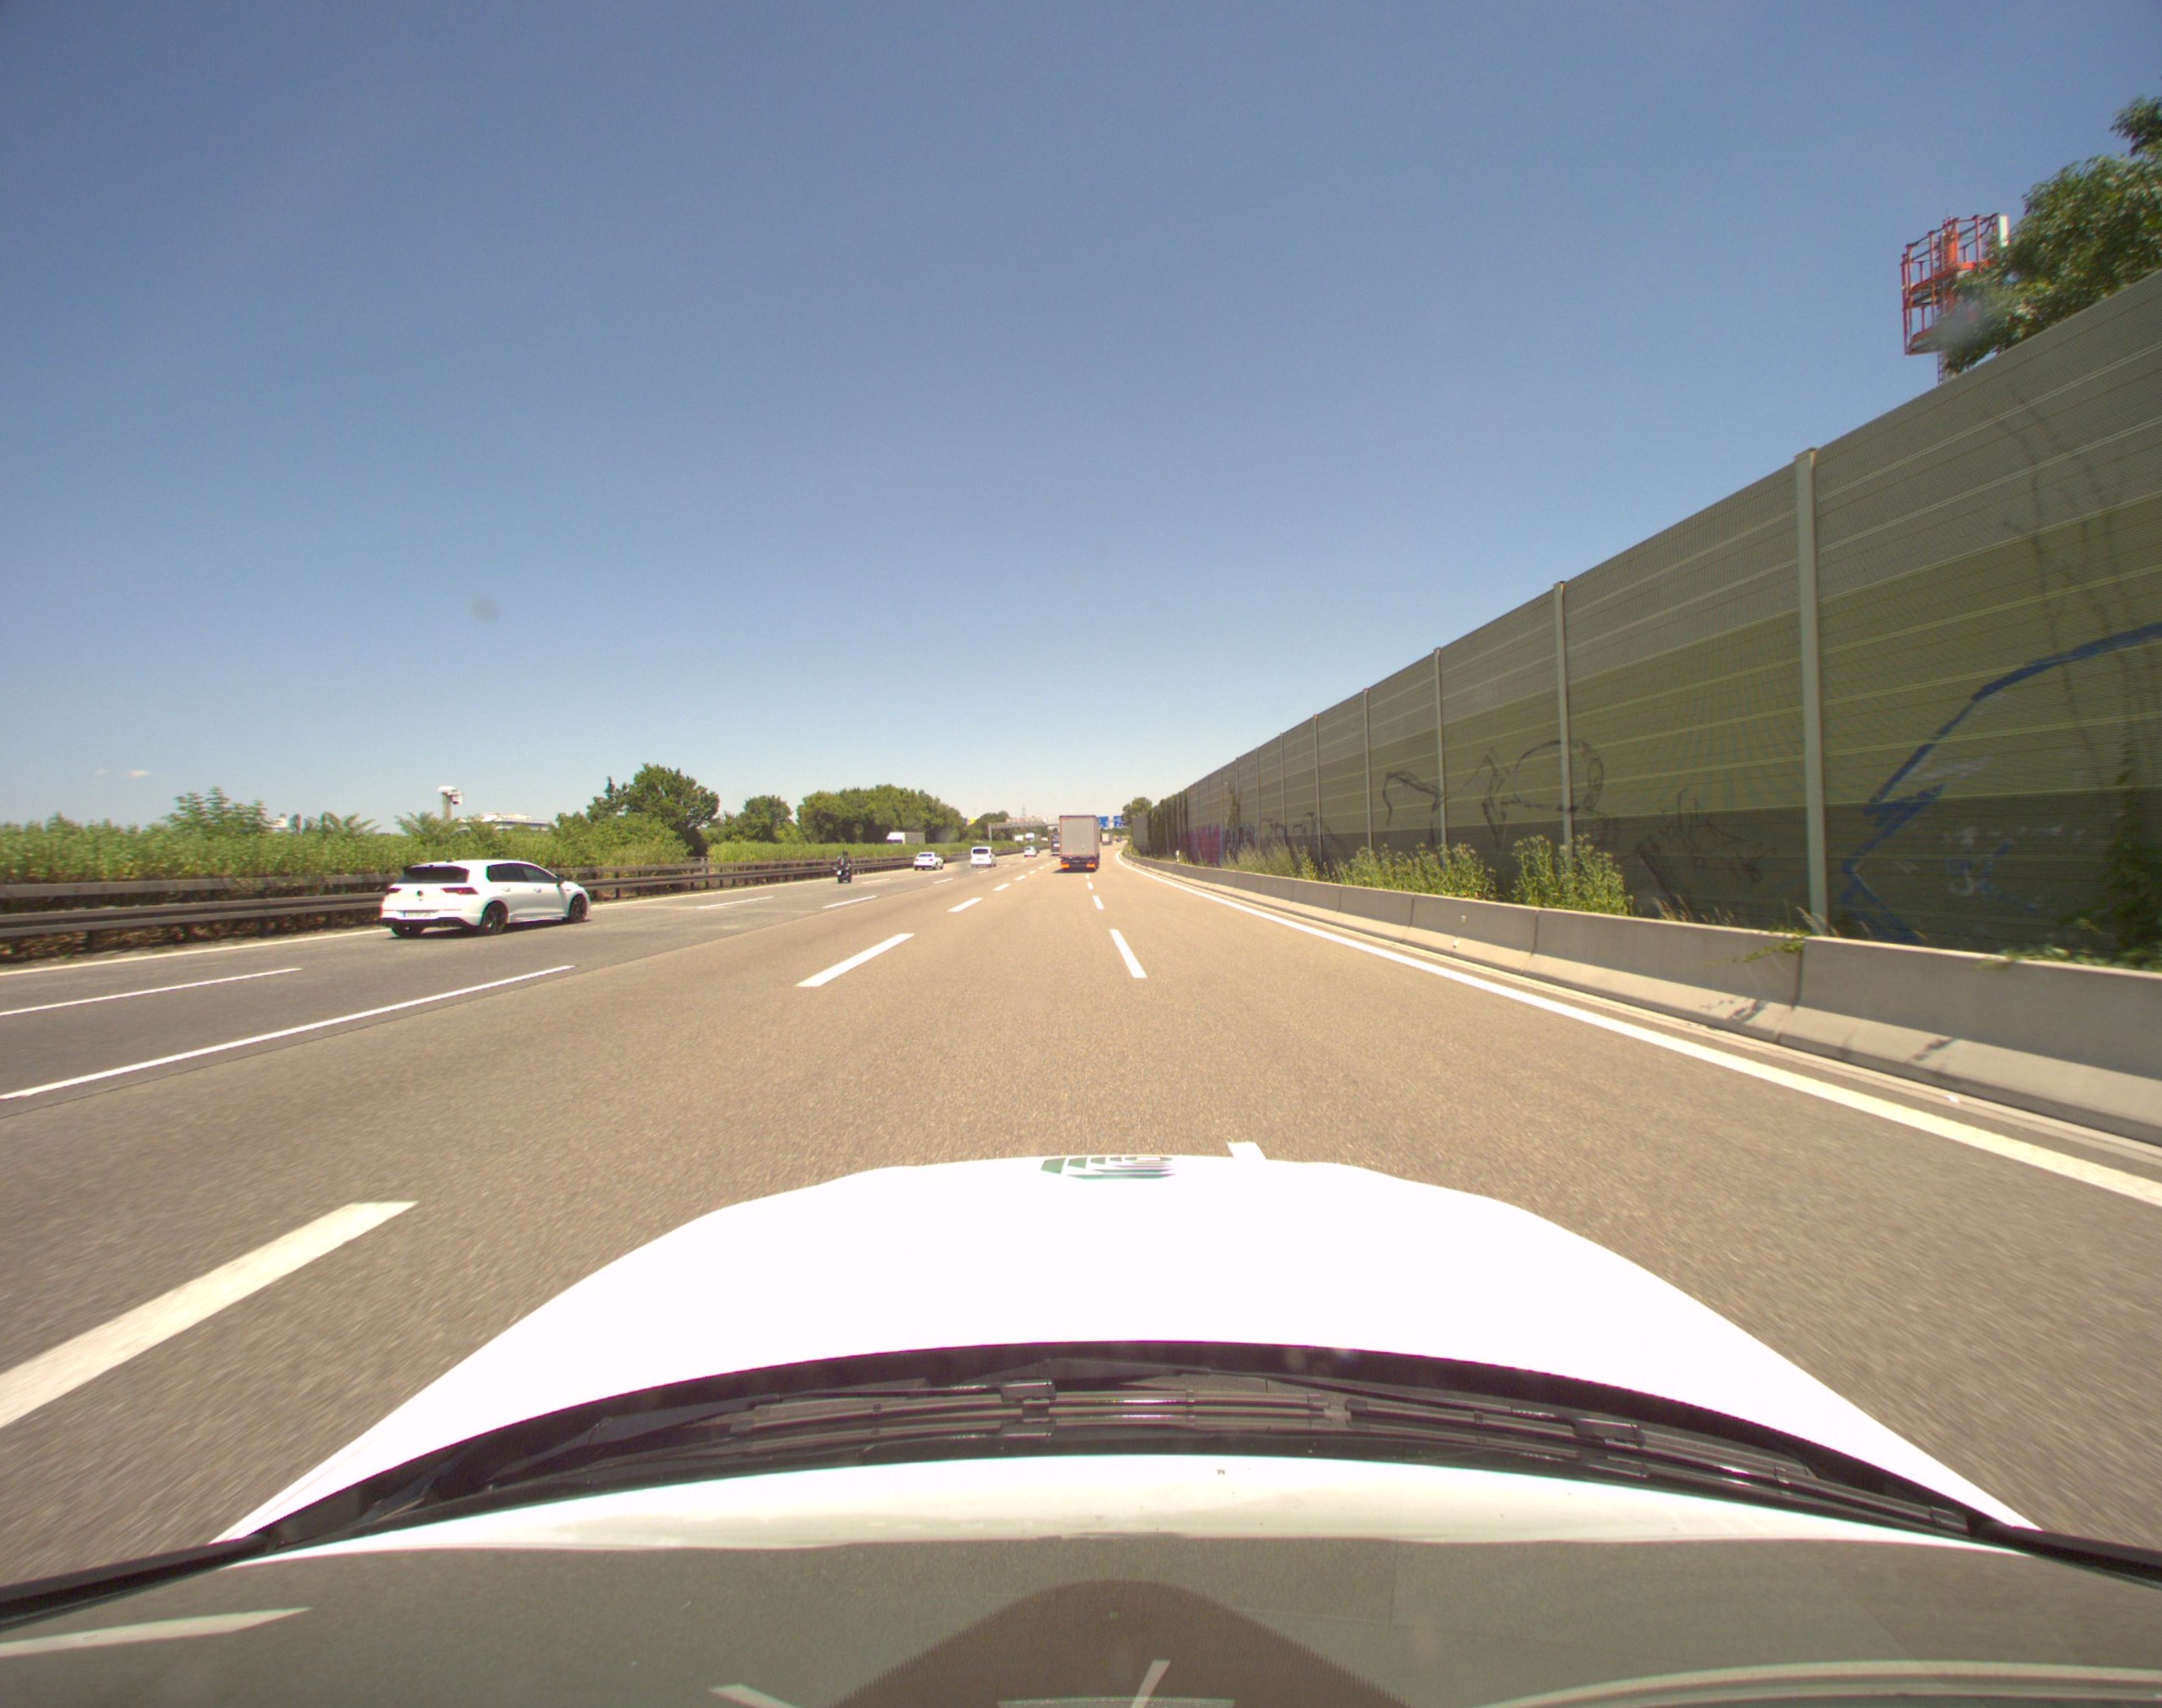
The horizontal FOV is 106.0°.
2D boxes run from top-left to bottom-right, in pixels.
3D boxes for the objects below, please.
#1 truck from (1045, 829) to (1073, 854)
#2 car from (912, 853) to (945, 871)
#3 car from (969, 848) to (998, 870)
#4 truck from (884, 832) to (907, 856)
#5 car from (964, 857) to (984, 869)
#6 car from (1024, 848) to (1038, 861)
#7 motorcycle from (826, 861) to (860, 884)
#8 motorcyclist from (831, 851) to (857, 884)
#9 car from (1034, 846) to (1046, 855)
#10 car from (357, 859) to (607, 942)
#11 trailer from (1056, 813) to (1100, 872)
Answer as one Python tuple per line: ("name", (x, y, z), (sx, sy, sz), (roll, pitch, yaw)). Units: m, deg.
("truck", (-3.806, -2.237, 143.665), (3.731, 4.269, 14.509), (0, 1, 3))
("car", (-12.550, 0.625, 67.285), (1.871, 1.440, 5.123), (-1, 0, -1))
("car", (-8.898, 0.493, 74.628), (1.924, 1.852, 4.693), (-2, -1, 1))
("truck", (-30.428, -1.652, 133.514), (2.529, 3.947, 5.167), (0, 0, 1))
("car", (-12.677, 1.081, 96.554), (1.752, 1.409, 5.036), (-1, -1, -2))
("car", (-7.922, 0.052, 129.149), (1.897, 1.851, 4.632), (-2, 1, 1))
("motorcycle", (-12.034, 0.931, 41.281), (0.910, 1.089, 2.849), (-1, 0, 0))
("motorcyclist", (-12.016, 0.674, 41.316), (0.890, 1.597, 1.299), (-1, 0, 0))
("car", (-8.077, -0.680, 161.921), (1.897, 1.717, 4.633), (-2, -1, 2))
("car", (-12.042, 0.838, 16.861), (1.777, 1.440, 4.666), (-1, 0, -1))
("trailer", (-0.098, -0.838, 62.036), (2.917, 4.015, 12.040), (-2, 0, 1))
